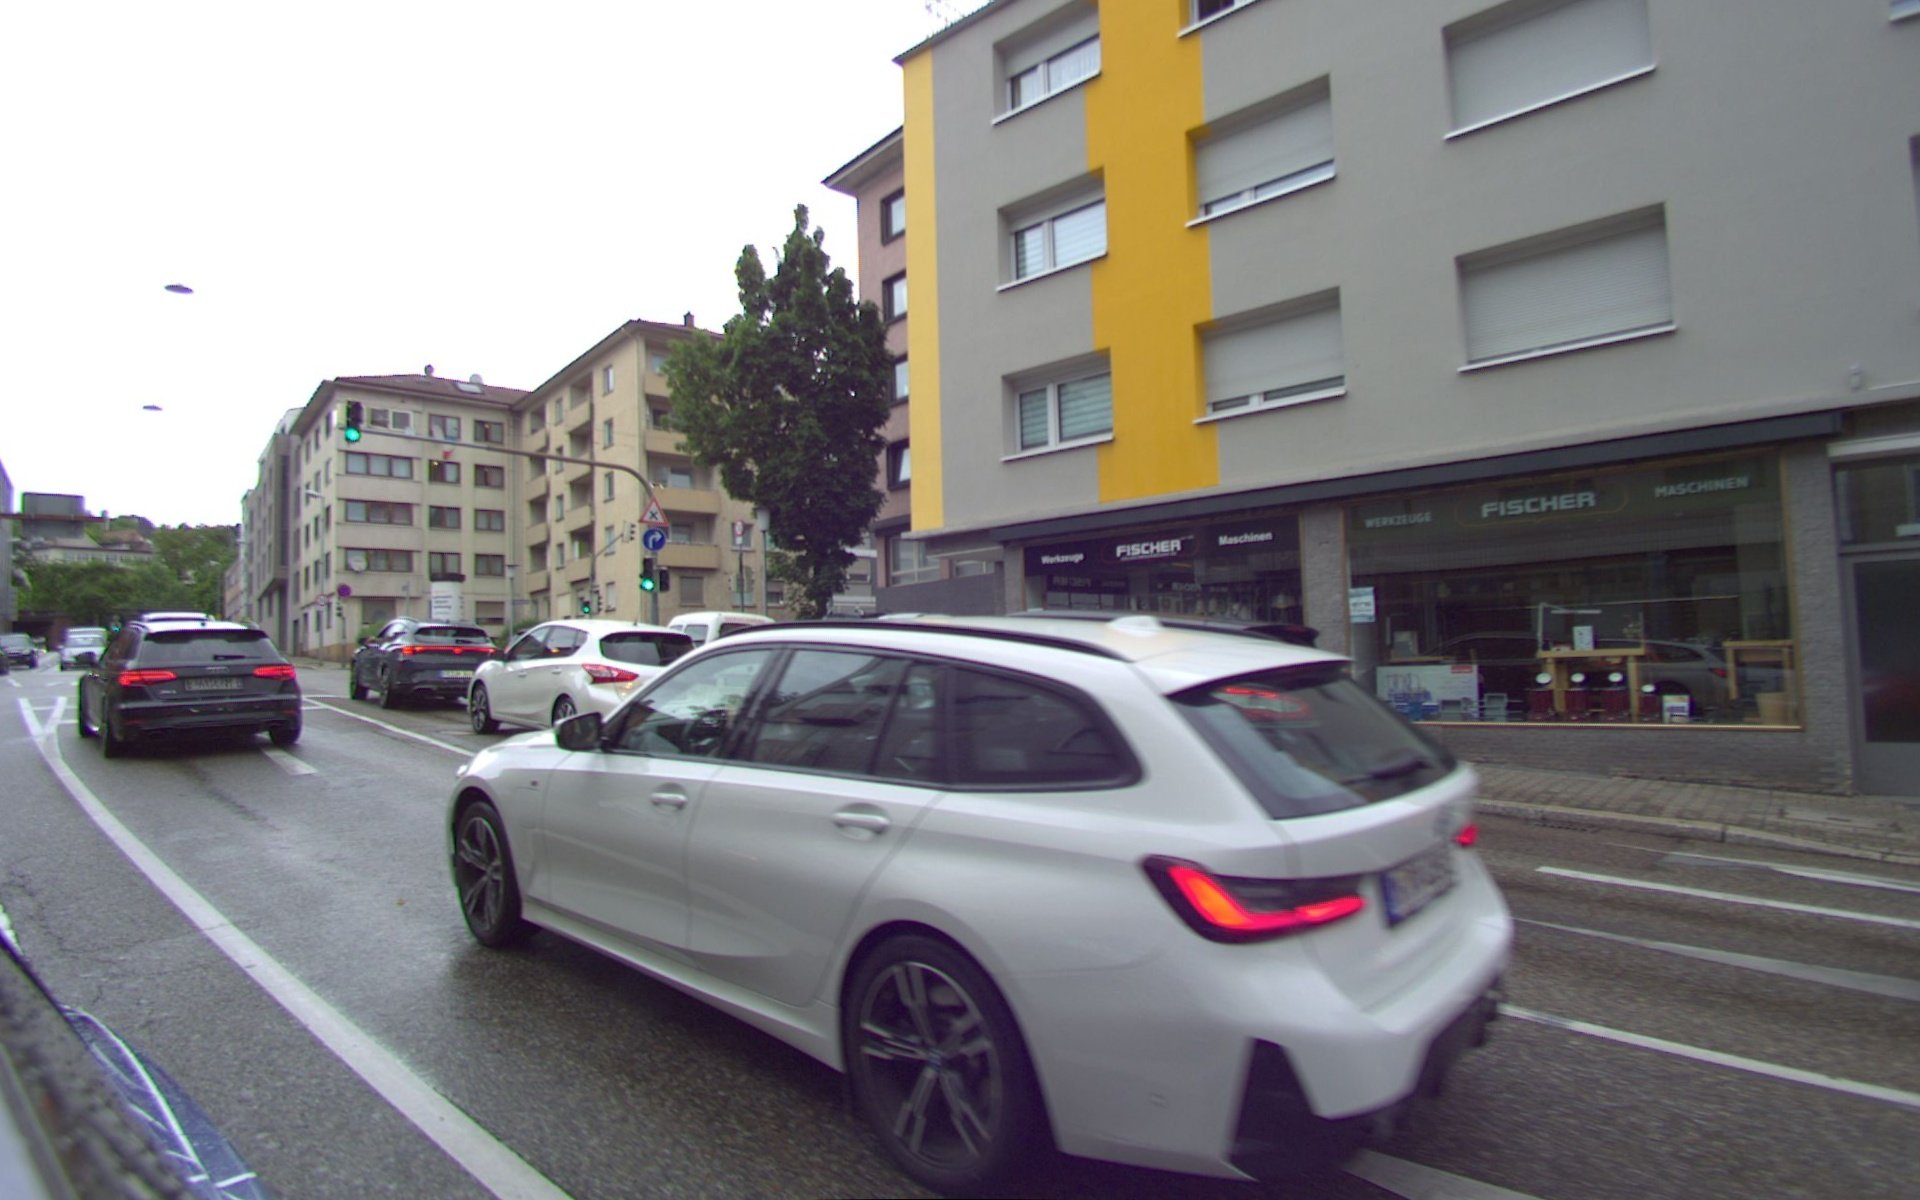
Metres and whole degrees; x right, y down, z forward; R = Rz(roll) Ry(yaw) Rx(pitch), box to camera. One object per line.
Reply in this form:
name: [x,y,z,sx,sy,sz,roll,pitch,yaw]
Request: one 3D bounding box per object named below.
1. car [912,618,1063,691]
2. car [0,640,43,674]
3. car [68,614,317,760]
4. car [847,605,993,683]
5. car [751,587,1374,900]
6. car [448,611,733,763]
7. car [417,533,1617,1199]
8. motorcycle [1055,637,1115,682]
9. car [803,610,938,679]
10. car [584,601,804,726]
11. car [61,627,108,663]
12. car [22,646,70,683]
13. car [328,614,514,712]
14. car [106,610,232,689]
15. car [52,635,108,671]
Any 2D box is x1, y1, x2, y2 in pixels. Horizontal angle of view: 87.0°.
car: [0.754,1.250,24.811,1.857,1.507,3.953,1,1,35]
car: [-45.407,2.732,48.589,1.812,1.566,4.007,1,-3,-39]
car: [-9.254,0.897,12.054,1.786,1.425,4.382,3,-2,-44]
car: [-0.972,1.089,26.493,1.855,1.807,3.955,-2,0,33]
car: [0.530,0.835,7.476,4.342,1.644,1.787,-1,-5,42]
car: [-4.751,1.014,12.637,1.785,1.554,4.383,2,-4,-43]
car: [-0.307,0.701,3.925,4.562,1.533,1.787,-1,-2,43]
motorcycle: [3.322,1.598,26.994,1.525,1.099,0.478,-7,-6,42]
car: [-2.386,1.194,28.226,1.764,1.741,4.308,1,-1,26]
car: [-4.617,1.052,17.262,1.707,1.843,4.063,9,-7,-44]
car: [-53.050,2.758,61.371,1.912,1.930,4.864,0,-4,-38]
car: [-48.253,3.427,53.491,1.767,1.741,4.005,0,-5,-41]
car: [-9.541,1.086,17.746,1.797,1.489,4.383,2,-4,-43]
car: [-17.611,1.025,22.455,1.797,1.548,4.383,2,-2,-43]
car: [-40.433,2.456,46.577,1.812,1.566,4.007,1,-3,-39]
